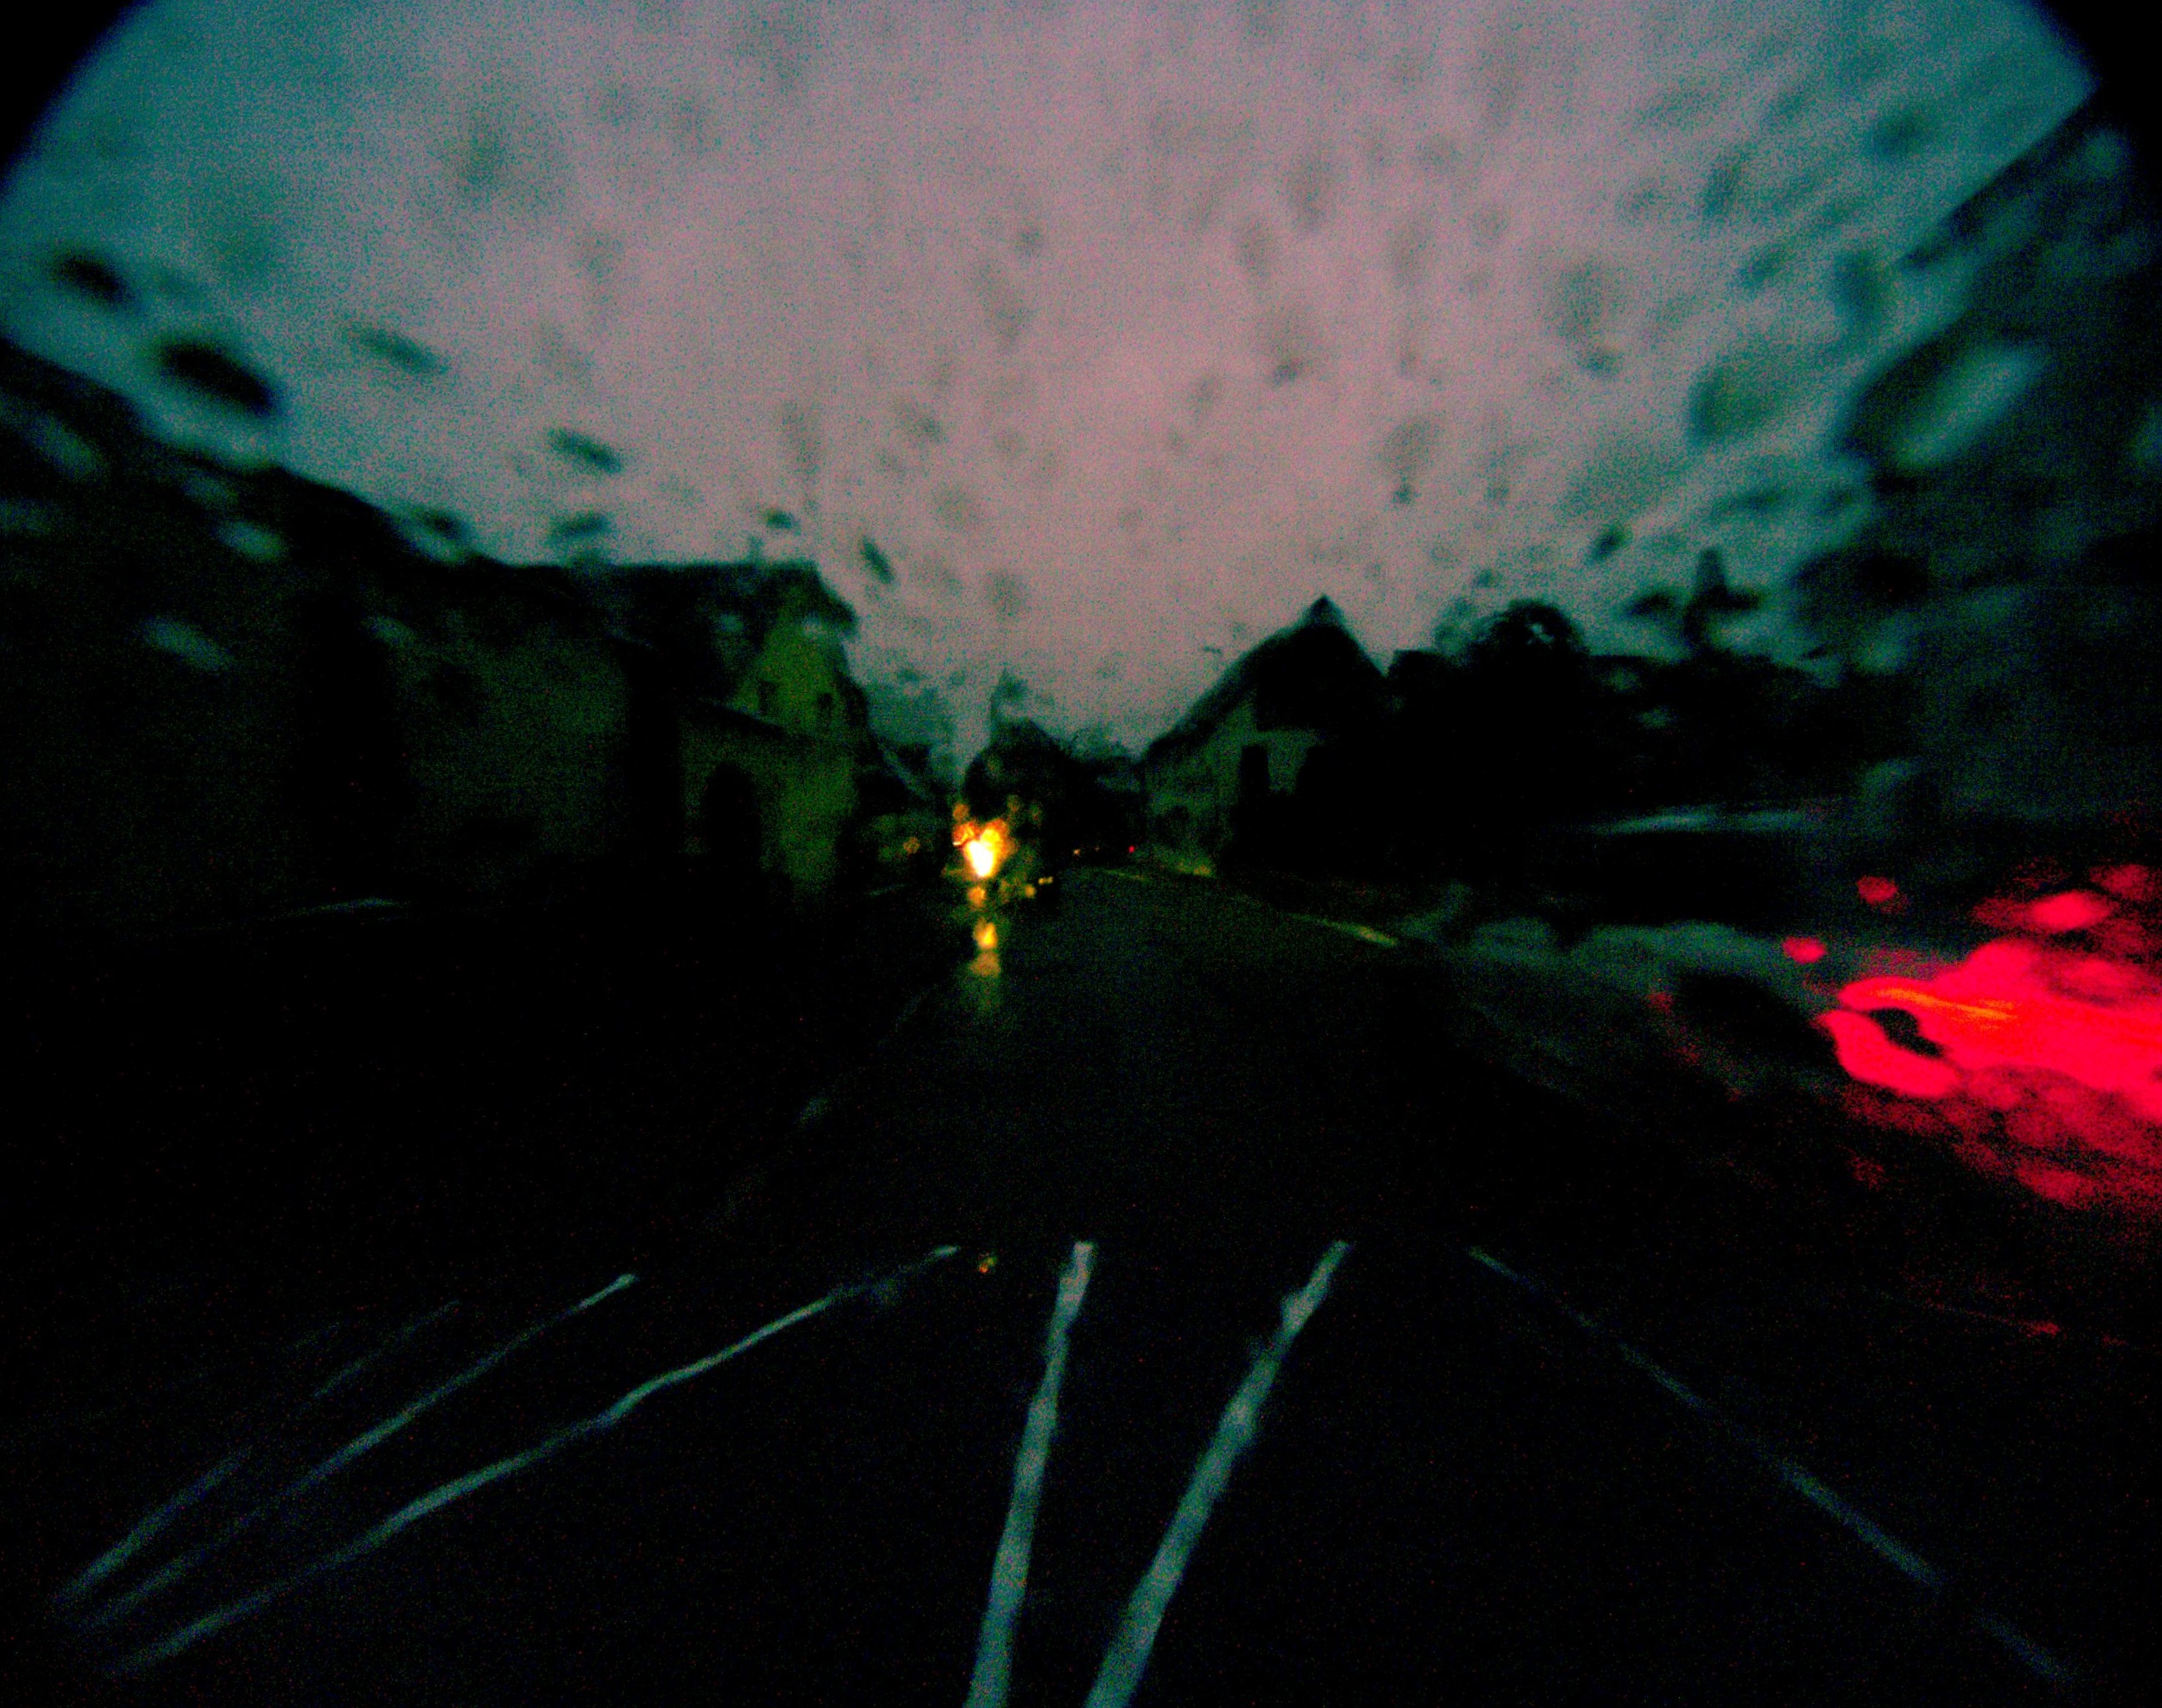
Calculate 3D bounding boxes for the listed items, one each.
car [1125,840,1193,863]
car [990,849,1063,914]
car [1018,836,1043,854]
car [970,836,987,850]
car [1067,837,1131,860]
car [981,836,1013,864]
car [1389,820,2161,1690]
[{"bbox_3d":[5.050,-0.183,49.473,2.003,1.417,4.225,-3,3,-38],"label":"car"},{"bbox_3d":[-1.566,0.654,20.875,1.731,1.424,4.794,-2,2,-6],"label":"car"},{"bbox_3d":[-4.941,-0.943,73.939,2.000,1.620,3.995,-2,2,-10],"label":"car"},{"bbox_3d":[-11.945,-1.303,88.455,1.765,1.489,3.996,-3,2,-5],"label":"car"},{"bbox_3d":[1.369,-0.409,57.620,4.483,1.570,1.997,-2,2,-15],"label":"car"},{"bbox_3d":[-6.642,-0.356,59.770,2.001,2.002,3.994,-2,2,-13],"label":"car"},{"bbox_3d":[2.920,0.671,3.188,1.762,1.572,3.999,-1,2,2],"label":"car"}]
